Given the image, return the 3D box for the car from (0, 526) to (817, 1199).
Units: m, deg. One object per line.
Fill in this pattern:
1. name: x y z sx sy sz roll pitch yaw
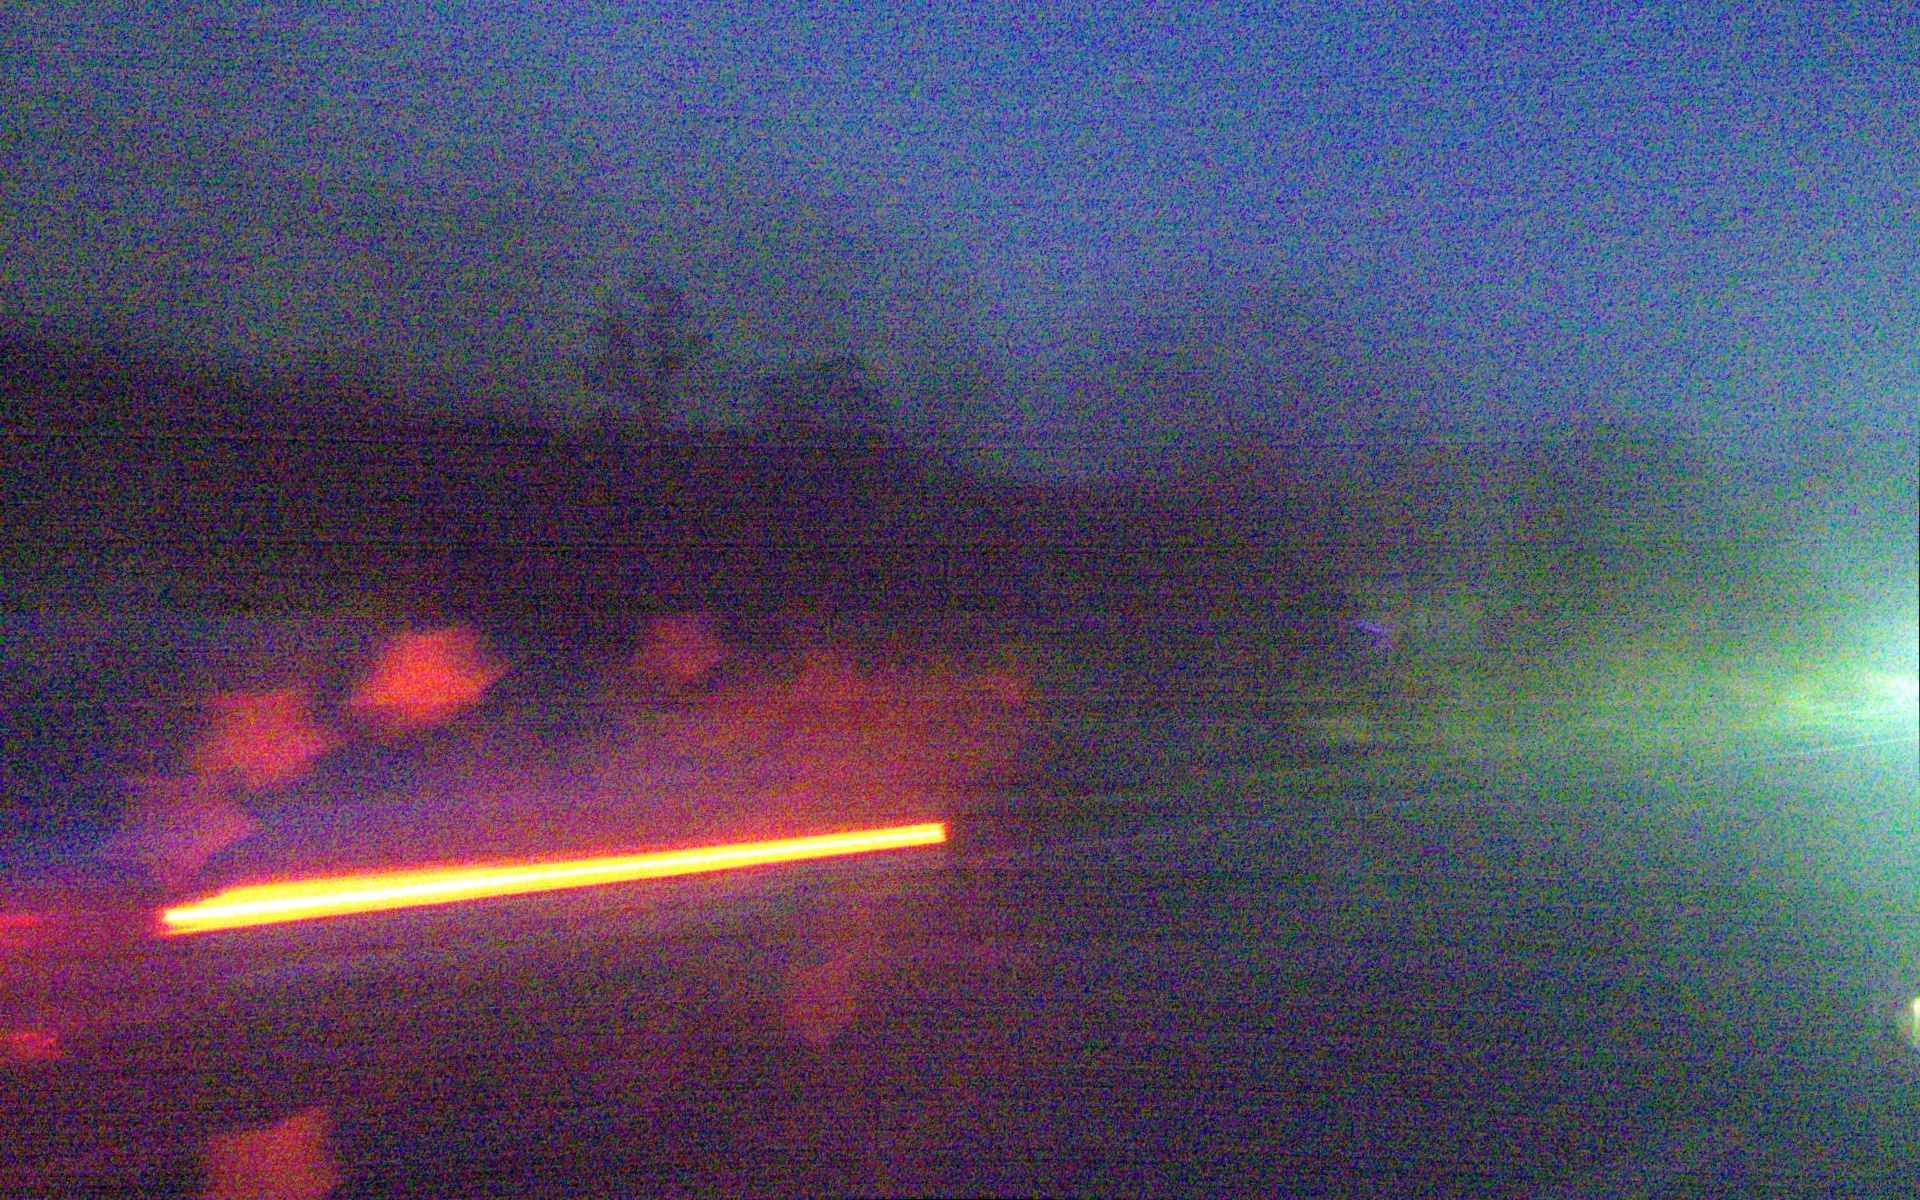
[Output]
1. car: -2.624 0.612 2.756 3.954 1.569 1.984 2 0 -31
